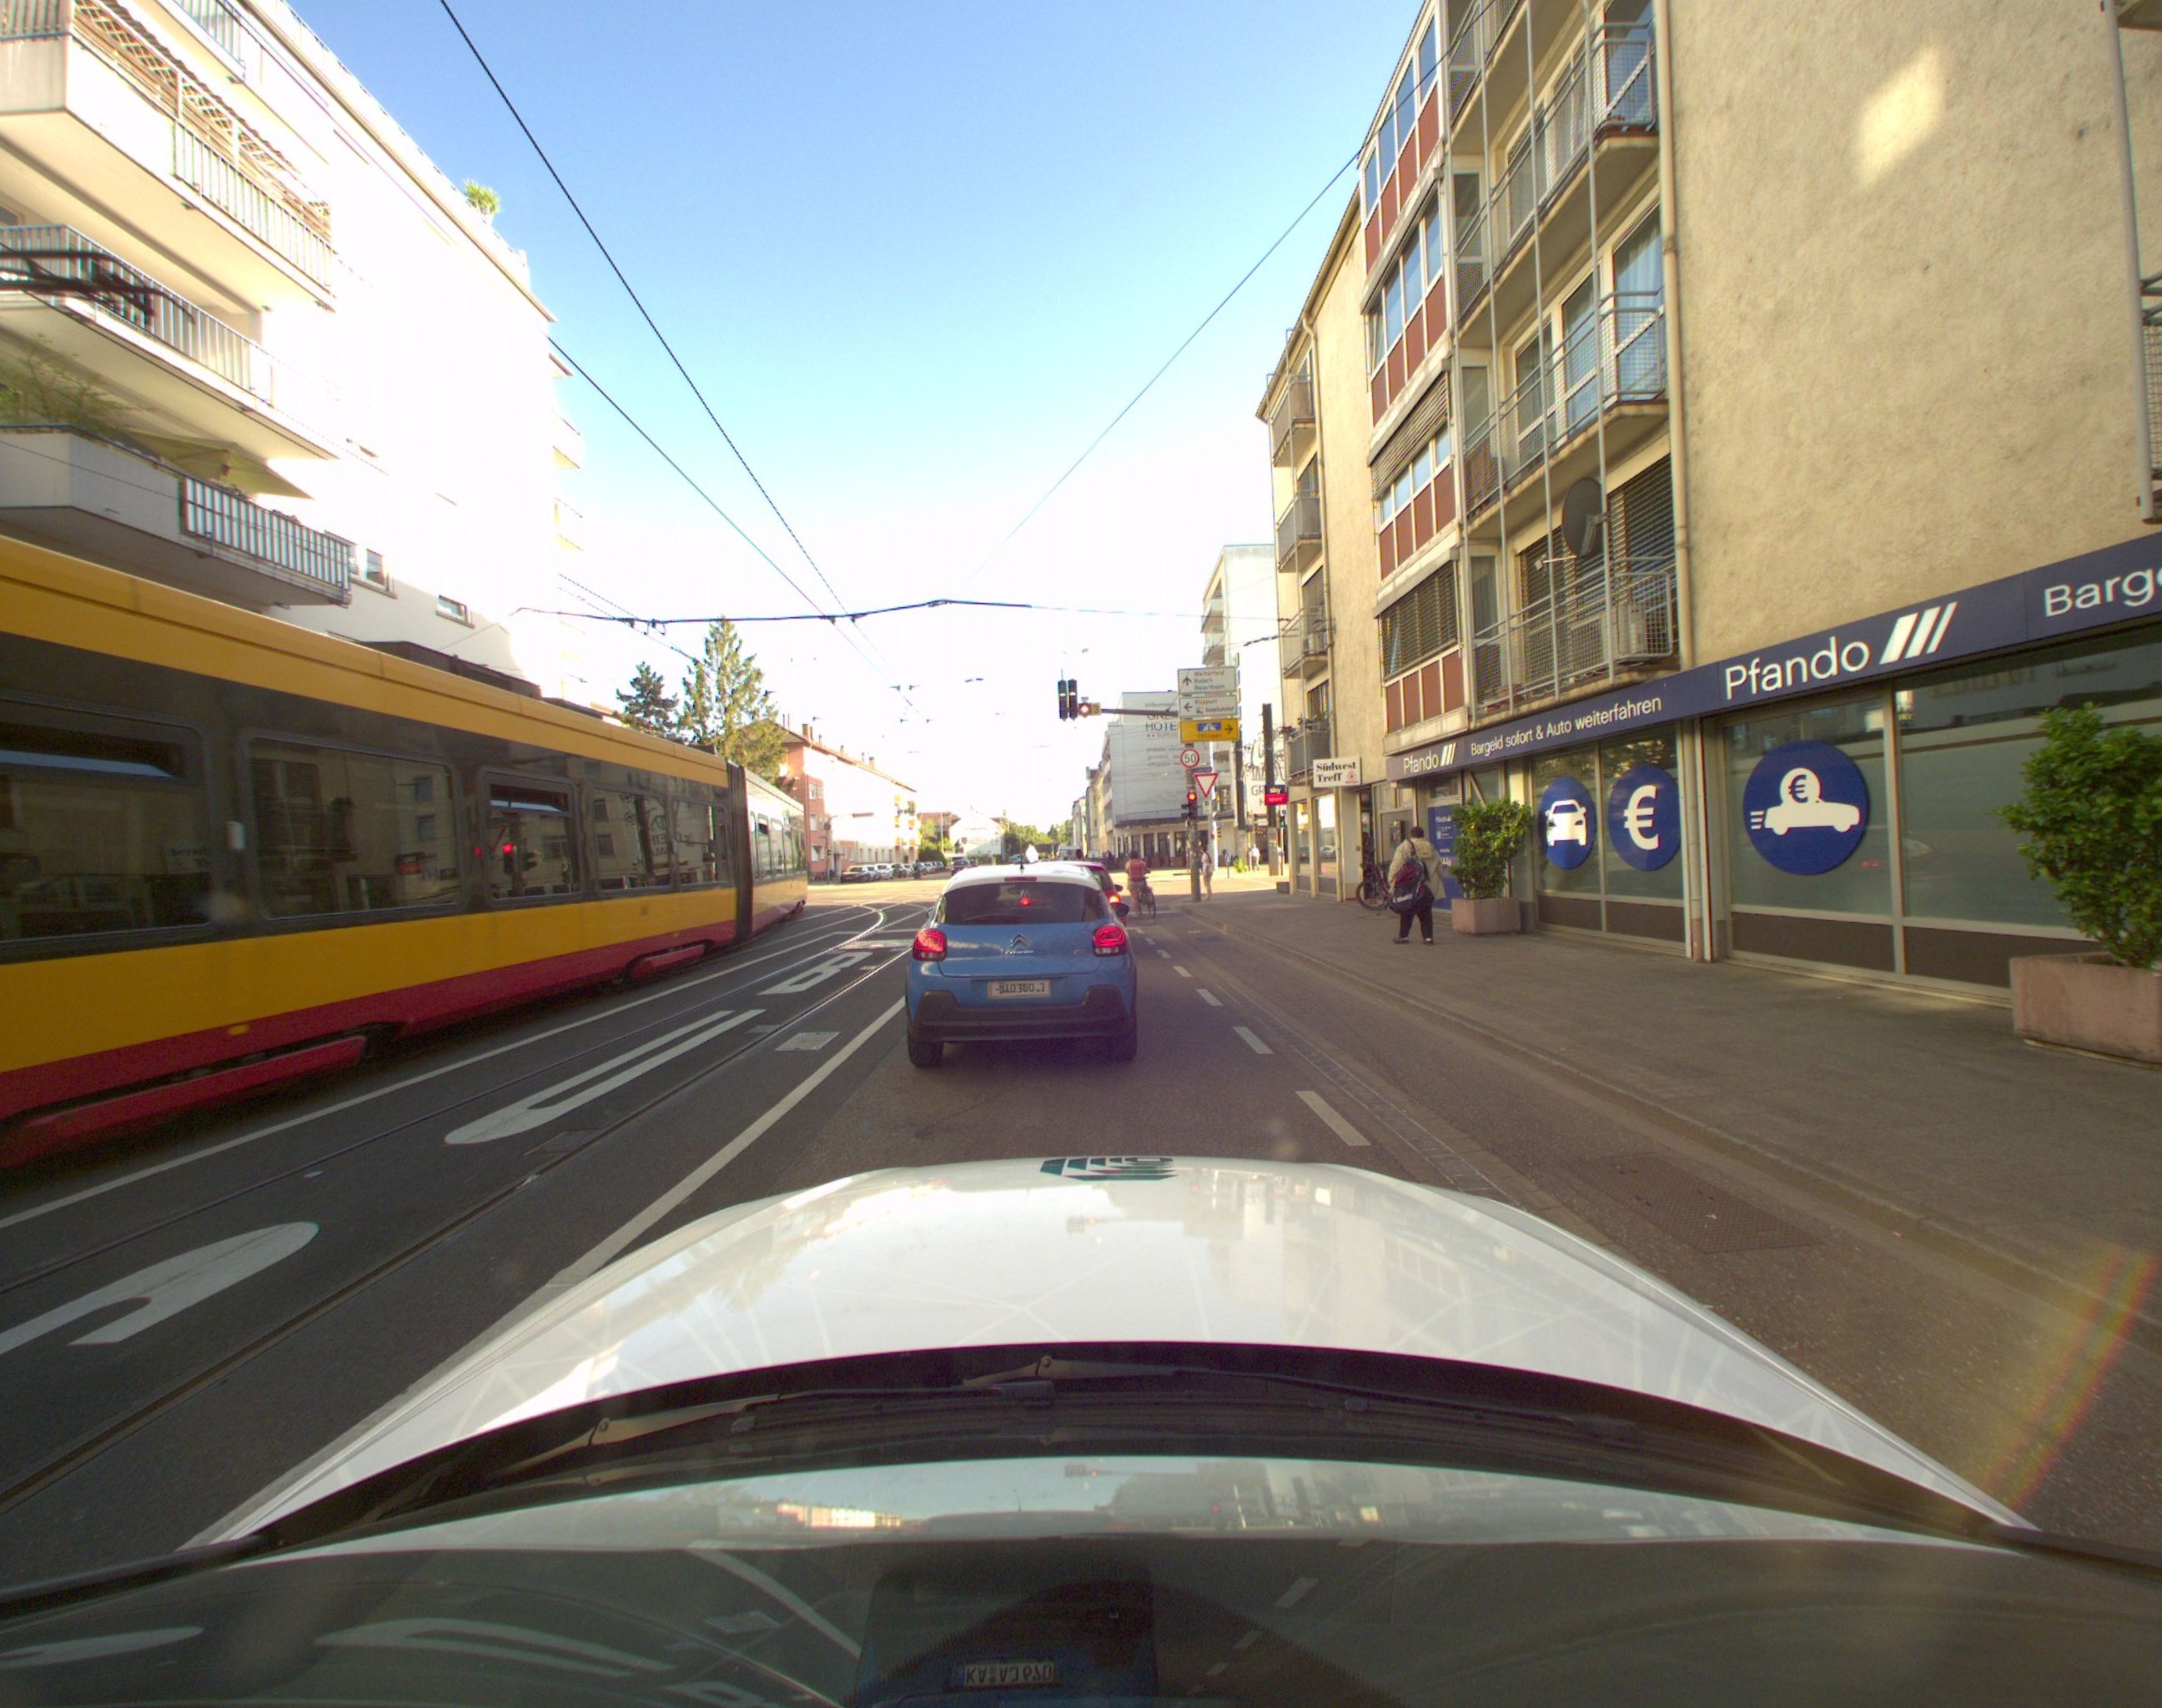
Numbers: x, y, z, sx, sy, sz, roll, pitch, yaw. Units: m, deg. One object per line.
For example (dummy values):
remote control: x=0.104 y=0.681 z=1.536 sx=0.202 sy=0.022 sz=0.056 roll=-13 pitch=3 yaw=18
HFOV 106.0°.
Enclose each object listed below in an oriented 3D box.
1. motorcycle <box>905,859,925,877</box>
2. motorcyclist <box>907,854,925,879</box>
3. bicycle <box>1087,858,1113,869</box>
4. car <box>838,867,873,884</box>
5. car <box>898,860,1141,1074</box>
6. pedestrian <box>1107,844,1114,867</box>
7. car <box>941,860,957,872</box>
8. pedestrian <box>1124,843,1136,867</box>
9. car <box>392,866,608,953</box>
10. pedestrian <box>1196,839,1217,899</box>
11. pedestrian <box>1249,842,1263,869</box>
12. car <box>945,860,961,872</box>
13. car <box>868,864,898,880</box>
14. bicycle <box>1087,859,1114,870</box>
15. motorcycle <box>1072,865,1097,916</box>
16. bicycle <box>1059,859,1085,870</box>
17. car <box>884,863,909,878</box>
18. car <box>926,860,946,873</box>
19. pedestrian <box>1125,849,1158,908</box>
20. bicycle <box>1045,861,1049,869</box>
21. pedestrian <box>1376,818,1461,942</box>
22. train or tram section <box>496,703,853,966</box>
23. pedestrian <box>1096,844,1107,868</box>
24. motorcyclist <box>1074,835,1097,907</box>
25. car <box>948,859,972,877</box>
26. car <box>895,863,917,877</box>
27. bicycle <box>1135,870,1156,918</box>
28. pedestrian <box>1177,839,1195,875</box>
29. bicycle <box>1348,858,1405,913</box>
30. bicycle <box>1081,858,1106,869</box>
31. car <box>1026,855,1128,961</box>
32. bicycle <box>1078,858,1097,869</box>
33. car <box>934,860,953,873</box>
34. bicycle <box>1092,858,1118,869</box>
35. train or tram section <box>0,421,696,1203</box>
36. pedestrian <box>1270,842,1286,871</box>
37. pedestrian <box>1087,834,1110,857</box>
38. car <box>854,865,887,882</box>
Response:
motorcycle: x=-13.704 y=1.145 z=67.395 sx=0.921 sy=1.486 sz=3.724 roll=0 pitch=0 yaw=-1
motorcyclist: x=-13.687 y=1.061 z=67.742 sx=1.182 sy=2.013 sz=1.275 roll=-2 pitch=0 yaw=-1
bicycle: x=1.578 y=0.816 z=67.784 sx=2.130 sy=0.901 sz=0.366 roll=0 pitch=-1 yaw=-7
car: x=-19.194 y=1.804 z=69.432 sx=1.787 sy=1.421 sz=3.996 roll=0 pitch=0 yaw=1
car: x=-0.365 y=0.782 z=7.297 sx=1.648 sy=1.444 sz=3.524 roll=0 pitch=-1 yaw=2
pedestrian: x=2.553 y=0.137 z=70.412 sx=0.575 sy=2.014 sz=0.625 roll=0 pitch=-1 yaw=-1
car: x=-18.982 y=1.708 z=117.301 sx=1.828 sy=1.687 sz=3.998 roll=0 pitch=-1 yaw=-1
pedestrian: x=4.115 y=0.059 z=68.431 sx=0.714 sy=2.014 sz=0.752 roll=0 pitch=-1 yaw=-31
car: x=-12.459 y=1.102 z=17.844 sx=1.864 sy=1.531 sz=4.068 roll=-2 pitch=0 yaw=-2
pedestrian: x=3.728 y=0.441 z=24.264 sx=0.515 sy=1.783 sz=0.595 roll=0 pitch=-1 yaw=0
pedestrian: x=10.466 y=0.090 z=48.705 sx=0.732 sy=1.601 sz=0.750 roll=0 pitch=-1 yaw=5
car: x=-19.183 y=1.746 z=121.949 sx=1.841 sy=1.687 sz=3.872 roll=0 pitch=-1 yaw=-1
car: x=-19.407 y=1.732 z=79.974 sx=1.781 sy=1.511 sz=4.150 roll=0 pitch=0 yaw=1
bicycle: x=1.613 y=0.861 z=67.371 sx=2.130 sy=0.901 sz=0.366 roll=0 pitch=-1 yaw=-7
motorcycle: x=0.107 y=0.837 z=19.564 sx=0.524 sy=1.139 sz=2.290 roll=0 pitch=-1 yaw=2
bicycle: x=-0.713 y=0.870 z=66.406 sx=2.130 sy=0.901 sz=0.366 roll=0 pitch=-1 yaw=-7
car: x=-19.600 y=1.773 z=86.755 sx=1.781 sy=1.498 sz=3.998 roll=0 pitch=0 yaw=-1
car: x=-18.947 y=1.659 z=106.764 sx=1.978 sy=1.687 sz=3.998 roll=0 pitch=-1 yaw=-1
pedestrian: x=1.496 y=0.602 z=20.328 sx=0.774 sy=1.460 sz=0.682 roll=0 pitch=-1 yaw=1
bicycle: x=-3.606 y=1.156 z=87.109 sx=0.348 sy=0.903 sz=1.856 roll=0 pitch=-1 yaw=-4
pedestrian: x=4.477 y=0.341 z=10.852 sx=0.822 sy=1.593 sz=0.751 roll=0 pitch=-1 yaw=1
train or tram section: x=-7.646 y=-0.220 z=18.485 sx=2.743 sy=3.632 sz=14.226 roll=0 pitch=0 yaw=-8
pedestrian: x=1.706 y=0.193 z=69.312 sx=0.635 sy=2.014 sz=0.717 roll=0 pitch=-1 yaw=-34
motorcyclist: x=0.114 y=0.404 z=19.756 sx=0.524 sy=1.716 sz=0.717 roll=0 pitch=-1 yaw=2
car: x=-11.362 y=1.332 z=76.836 sx=1.770 sy=1.666 sz=3.854 roll=0 pitch=-1 yaw=-2
car: x=-19.933 y=1.837 z=92.800 sx=1.728 sy=1.498 sz=3.996 roll=0 pitch=0 yaw=-2
bicycle: x=1.626 y=0.977 z=20.590 sx=0.426 sy=1.123 sz=1.999 roll=0 pitch=-1 yaw=2
pedestrian: x=6.062 y=0.169 z=46.972 sx=0.922 sy=2.014 sz=0.760 roll=0 pitch=-1 yaw=1
bicycle: x=5.689 y=0.578 z=15.768 sx=0.540 sy=0.998 sz=1.706 roll=0 pitch=-1 yaw=2
bicycle: x=1.049 y=0.813 z=68.481 sx=2.130 sy=0.901 sz=0.366 roll=0 pitch=-1 yaw=-7
car: x=-0.010 y=0.799 z=13.280 sx=1.419 sy=1.467 sz=2.925 roll=-2 pitch=-1 yaw=2
bicycle: x=0.561 y=0.813 z=69.503 sx=1.765 sy=0.901 sz=0.369 roll=-1 pitch=-1 yaw=36
car: x=-18.870 y=1.665 z=111.884 sx=1.877 sy=1.687 sz=3.998 roll=0 pitch=-1 yaw=-1
bicycle: x=1.944 y=0.762 z=66.046 sx=2.130 sy=0.901 sz=0.366 roll=0 pitch=-1 yaw=-7
train or tram section: x=-6.590 y=-0.173 z=6.851 sx=2.819 sy=3.631 sz=9.073 roll=0 pitch=0 yaw=-3
pedestrian: x=11.422 y=0.155 z=47.210 sx=0.748 sy=1.657 sz=0.885 roll=0 pitch=-1 yaw=6
pedestrian: x=1.628 y=-0.735 z=73.697 sx=1.986 sy=2.014 sz=4.001 roll=0 pitch=-1 yaw=2
car: x=-19.167 y=1.774 z=74.358 sx=1.808 sy=1.498 sz=4.302 roll=0 pitch=0 yaw=2
